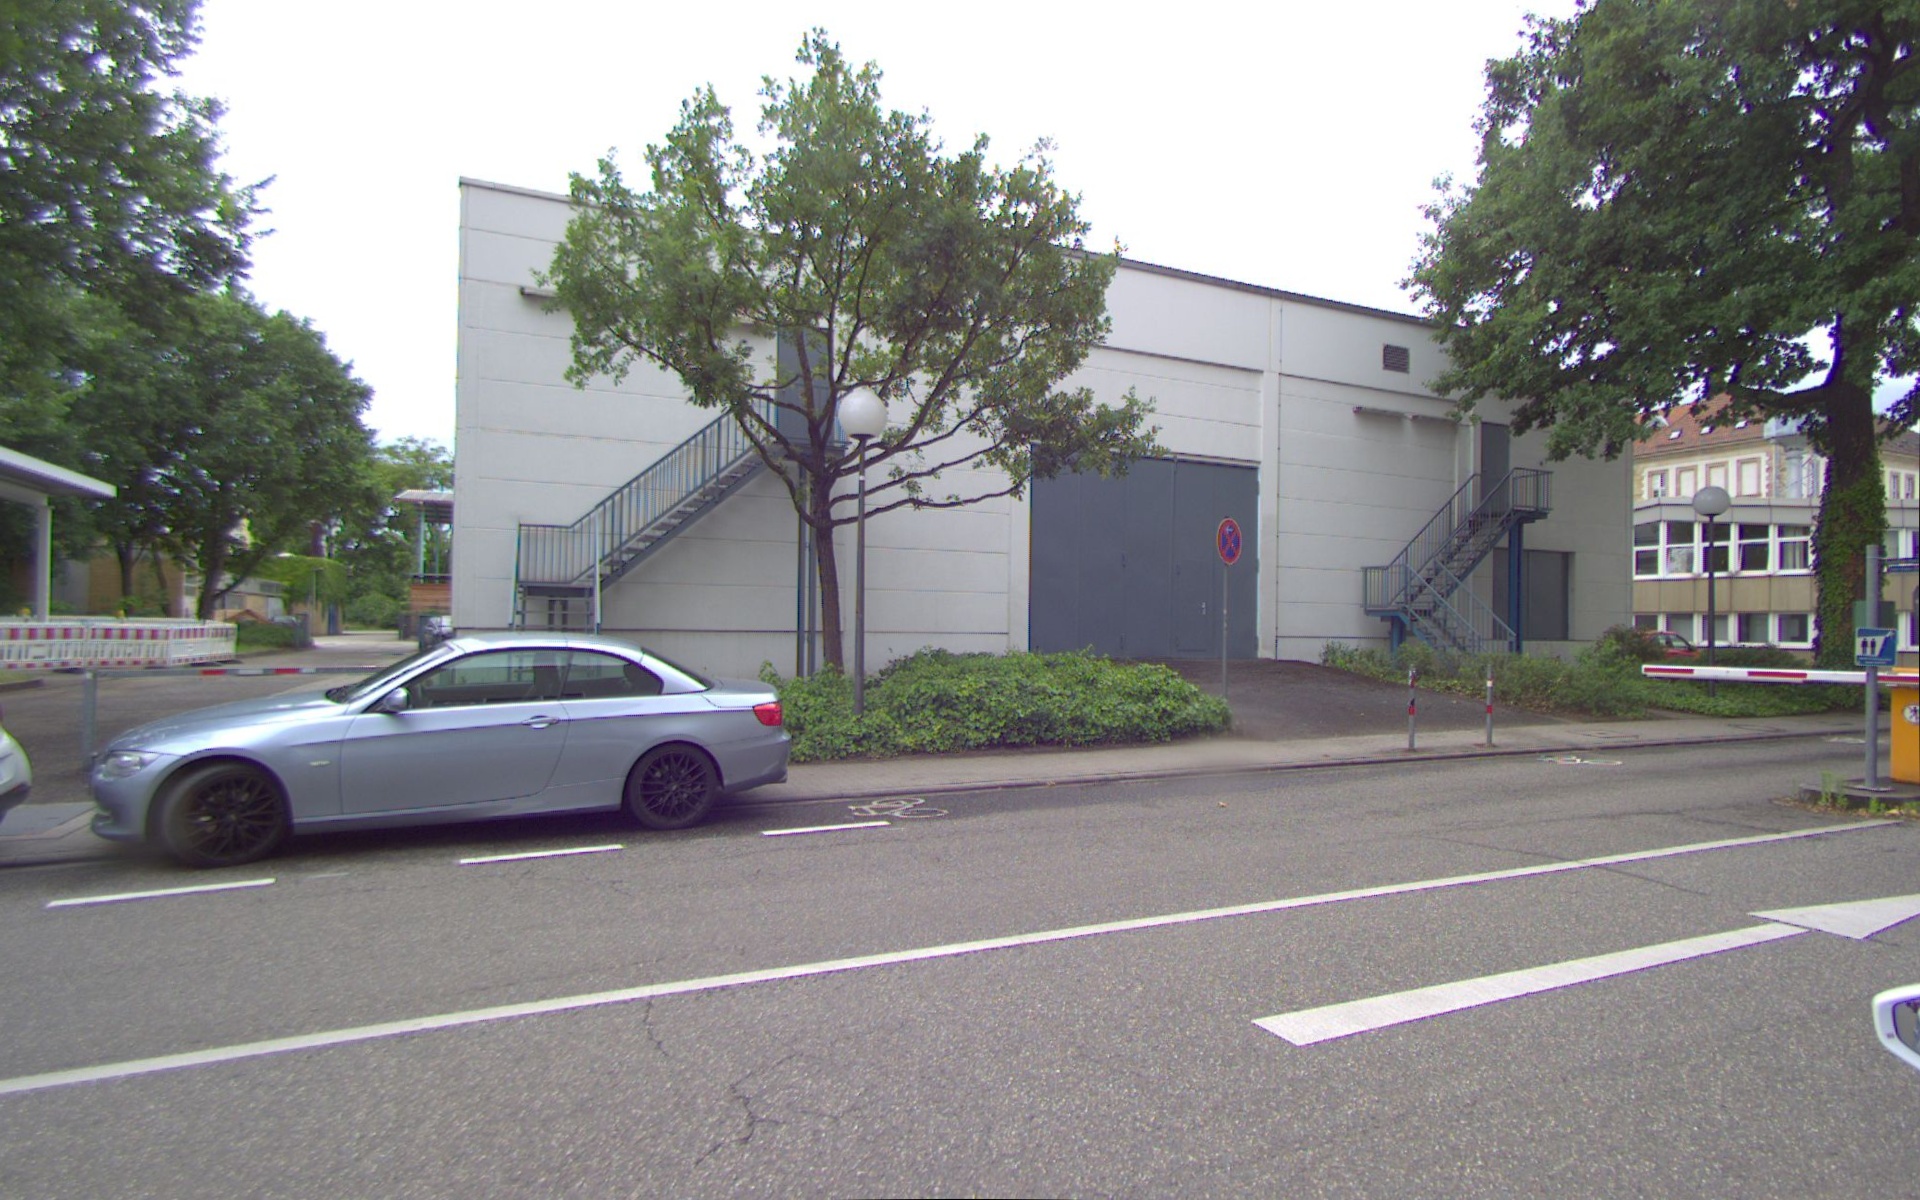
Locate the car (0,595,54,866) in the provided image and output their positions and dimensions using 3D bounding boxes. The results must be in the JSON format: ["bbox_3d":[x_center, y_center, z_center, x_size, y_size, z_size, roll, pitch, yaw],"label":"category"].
[{"bbox_3d":[-7.387,0.757,5.060,3.825,1.607,1.711,1,-1,-25],"label":"car"}]

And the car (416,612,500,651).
[{"bbox_3d":[-21.079,1.310,42.151,3.714,1.550,1.869,-1,-2,41],"label":"car"}]

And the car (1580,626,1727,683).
[{"bbox_3d":[20.428,1.565,29.581,3.946,1.550,1.857,1,-1,-25],"label":"car"}]

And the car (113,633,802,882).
[{"bbox_3d":[-3.466,0.979,7.598,4.140,1.407,1.811,1,-1,-27],"label":"car"}]
